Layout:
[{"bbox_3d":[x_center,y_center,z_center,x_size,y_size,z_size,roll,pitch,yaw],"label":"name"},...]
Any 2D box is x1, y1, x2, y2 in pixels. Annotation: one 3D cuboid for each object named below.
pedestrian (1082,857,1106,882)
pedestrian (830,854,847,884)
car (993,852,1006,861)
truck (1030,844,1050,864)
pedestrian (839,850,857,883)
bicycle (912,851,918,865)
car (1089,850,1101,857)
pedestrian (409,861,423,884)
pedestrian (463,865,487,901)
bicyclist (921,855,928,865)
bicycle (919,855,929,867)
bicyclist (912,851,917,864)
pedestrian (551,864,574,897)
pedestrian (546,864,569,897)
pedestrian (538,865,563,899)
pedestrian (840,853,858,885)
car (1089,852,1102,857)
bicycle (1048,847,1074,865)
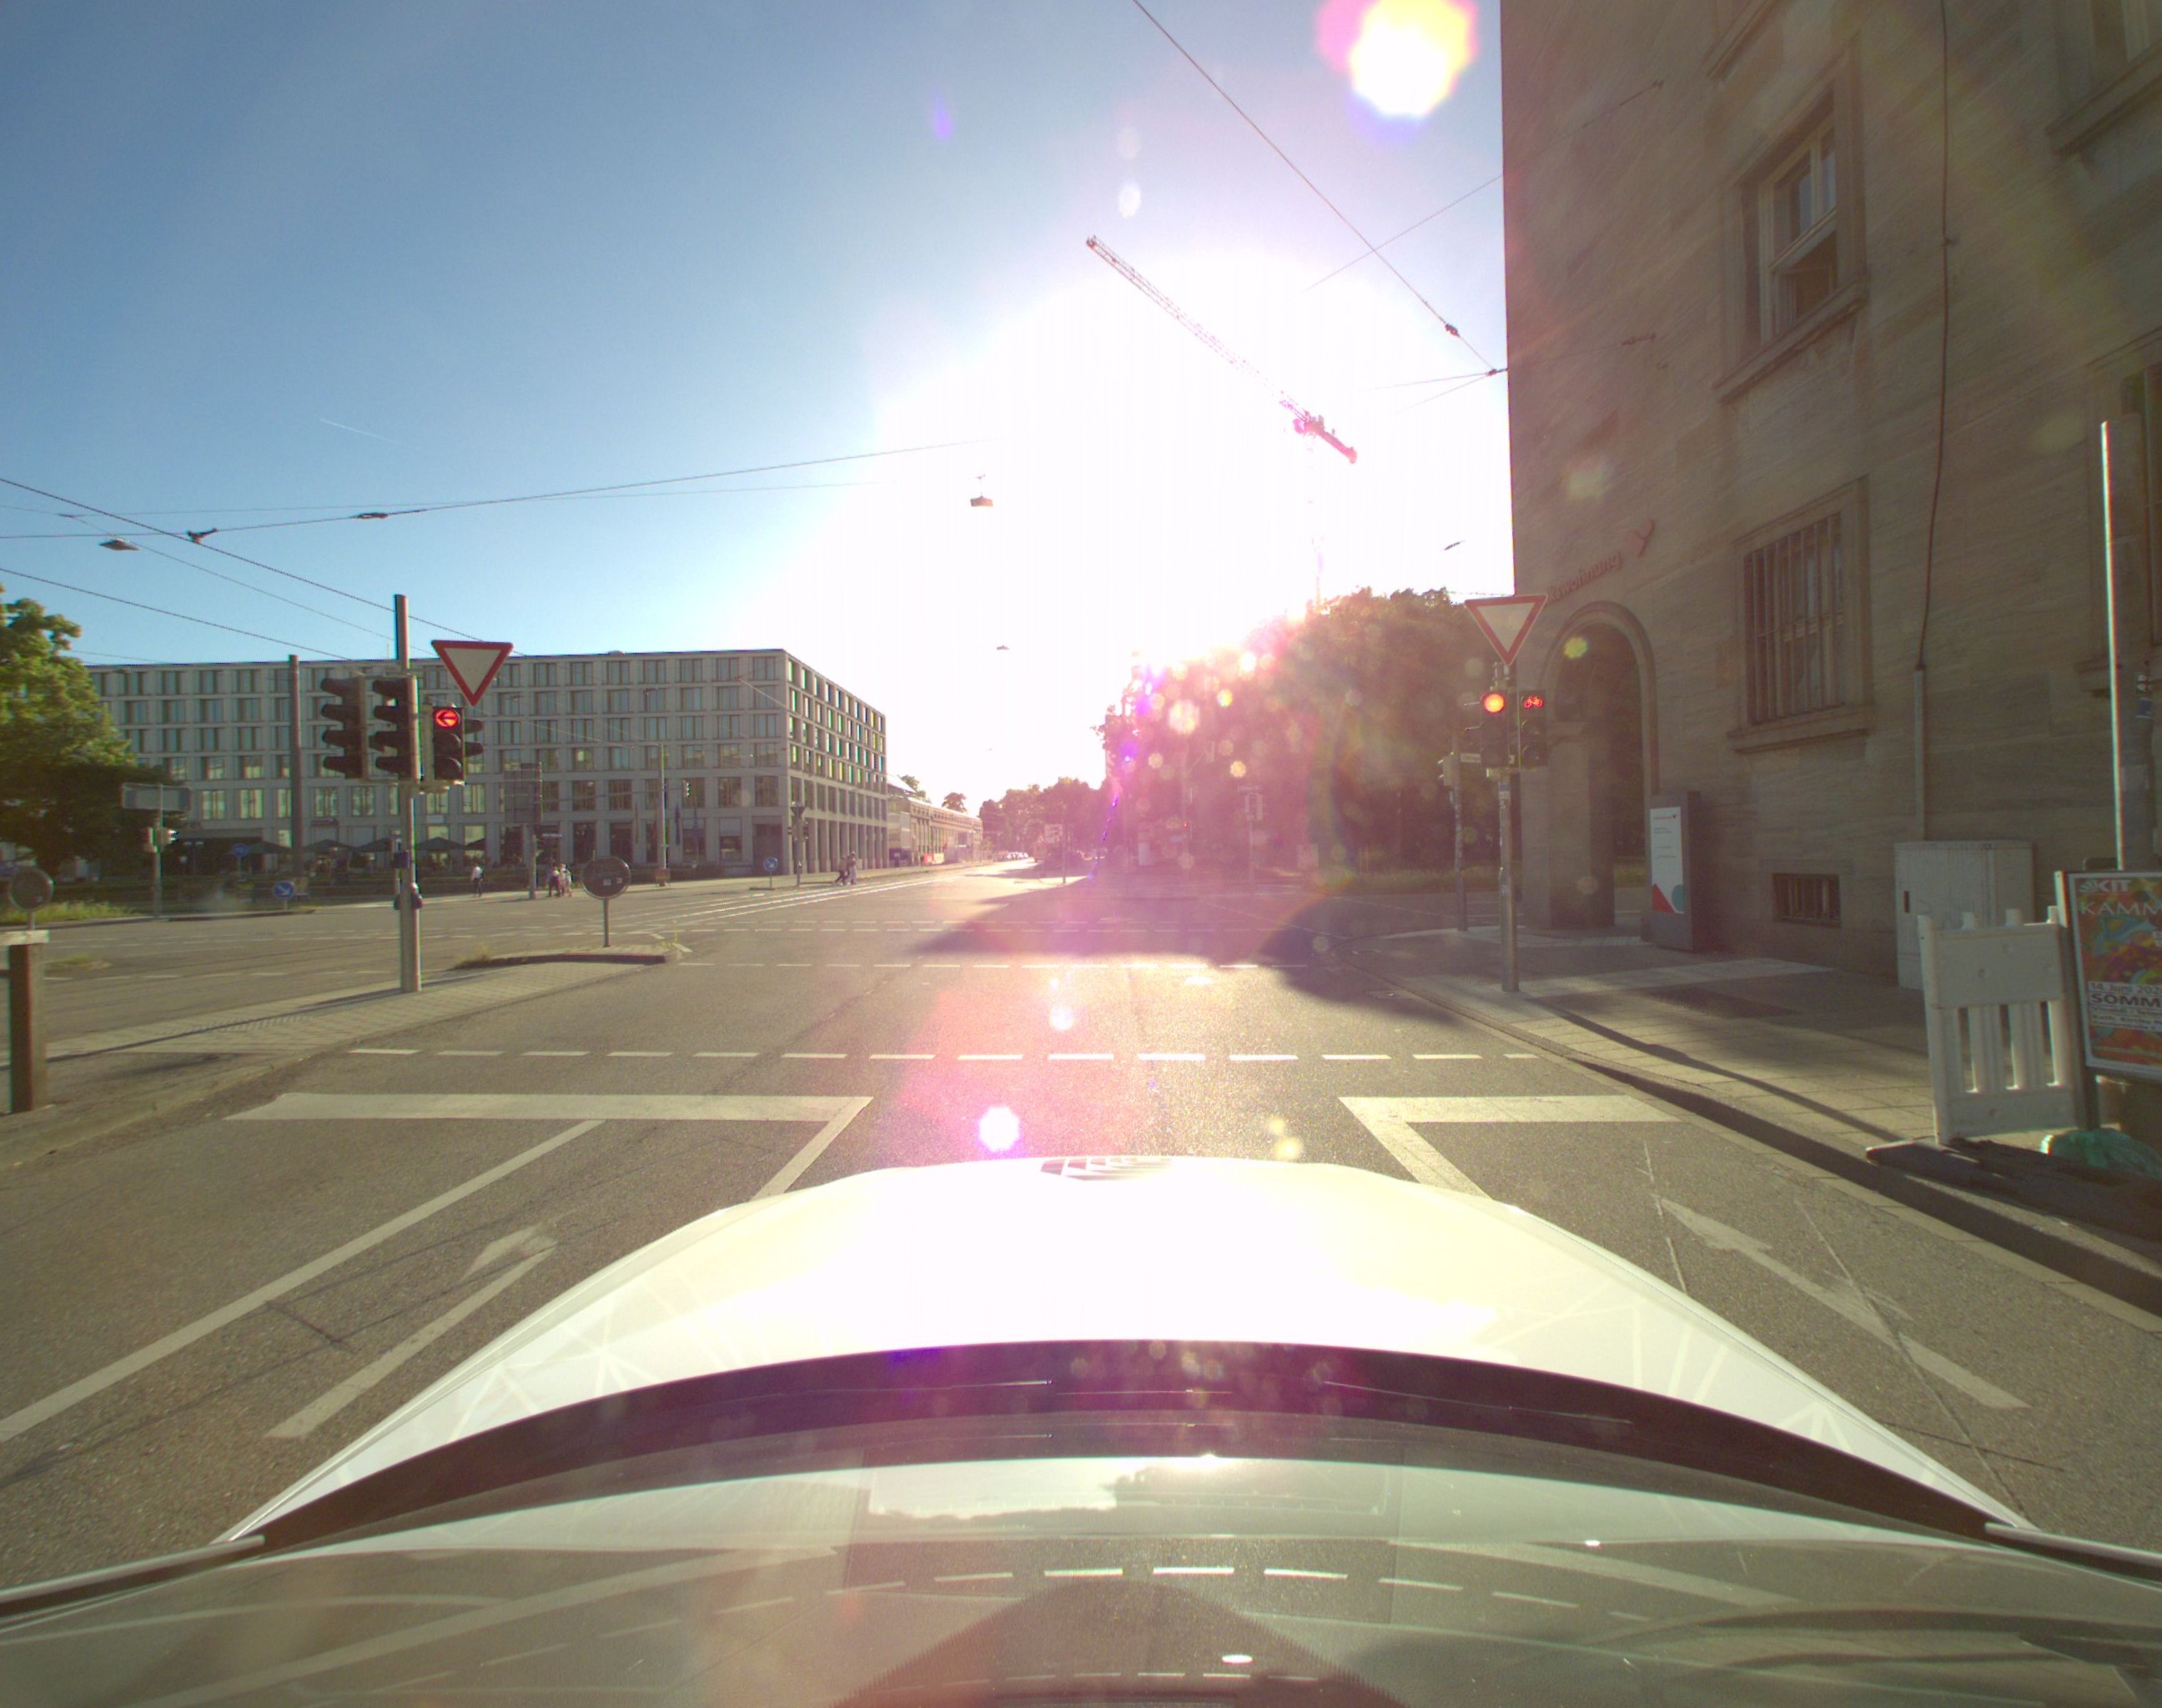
[{"bbox_3d":[0.696,0.816,44.200,0.984,1.317,0.772,-2,0,39],"label":"pedestrian"},{"bbox_3d":[-13.239,0.817,44.457,0.691,1.644,0.622,-2,0,2],"label":"pedestrian"},{"bbox_3d":[-15.684,0.464,157.266,1.888,1.607,4.499,-2,0,0],"label":"car"},{"bbox_3d":[-6.355,-0.042,127.671,2.708,3.016,6.488,-1,0,0],"label":"truck"},{"bbox_3d":[-12.915,0.690,45.140,0.744,1.761,0.679,-2,-1,6],"label":"pedestrian"},{"bbox_3d":[-26.757,0.634,130.967,0.569,2.296,1.422,-2,0,0],"label":"bicycle"},{"bbox_3d":[3.664,-0.150,213.647,3.207,1.588,1.445,0,-1,-3],"label":"car"},{"bbox_3d":[-49.641,1.391,60.781,0.538,1.669,0.561,0,-1,-2],"label":"pedestrian"},{"bbox_3d":[-32.906,1.555,44.232,0.797,1.918,0.638,-2,0,7],"label":"pedestrian"},{"bbox_3d":[-20.546,0.796,106.927,0.687,1.328,1.000,0,-1,2],"label":"bicyclist"},{"bbox_3d":[-20.595,0.902,106.857,0.687,1.511,2.945,0,-1,2],"label":"bicycle"},{"bbox_3d":[-26.762,0.516,130.953,0.569,2.024,0.762,-2,0,0],"label":"bicyclist"},{"bbox_3d":[-28.714,1.450,45.098,0.865,1.803,0.533,-2,0,7],"label":"pedestrian"},{"bbox_3d":[-29.233,1.451,45.488,0.735,1.803,0.717,-2,0,7],"label":"pedestrian"},{"bbox_3d":[-28.841,1.496,44.270,0.865,1.803,0.665,-2,0,7],"label":"pedestrian"},{"bbox_3d":[-12.447,0.793,43.702,0.790,1.644,0.621,-2,0,-3],"label":"pedestrian"},{"bbox_3d":[3.810,0.023,211.480,3.207,1.263,1.373,0,-1,0],"label":"car"},{"bbox_3d":[-1.991,0.213,81.640,2.538,1.744,1.038,0,-1,1],"label":"bicycle"}]
